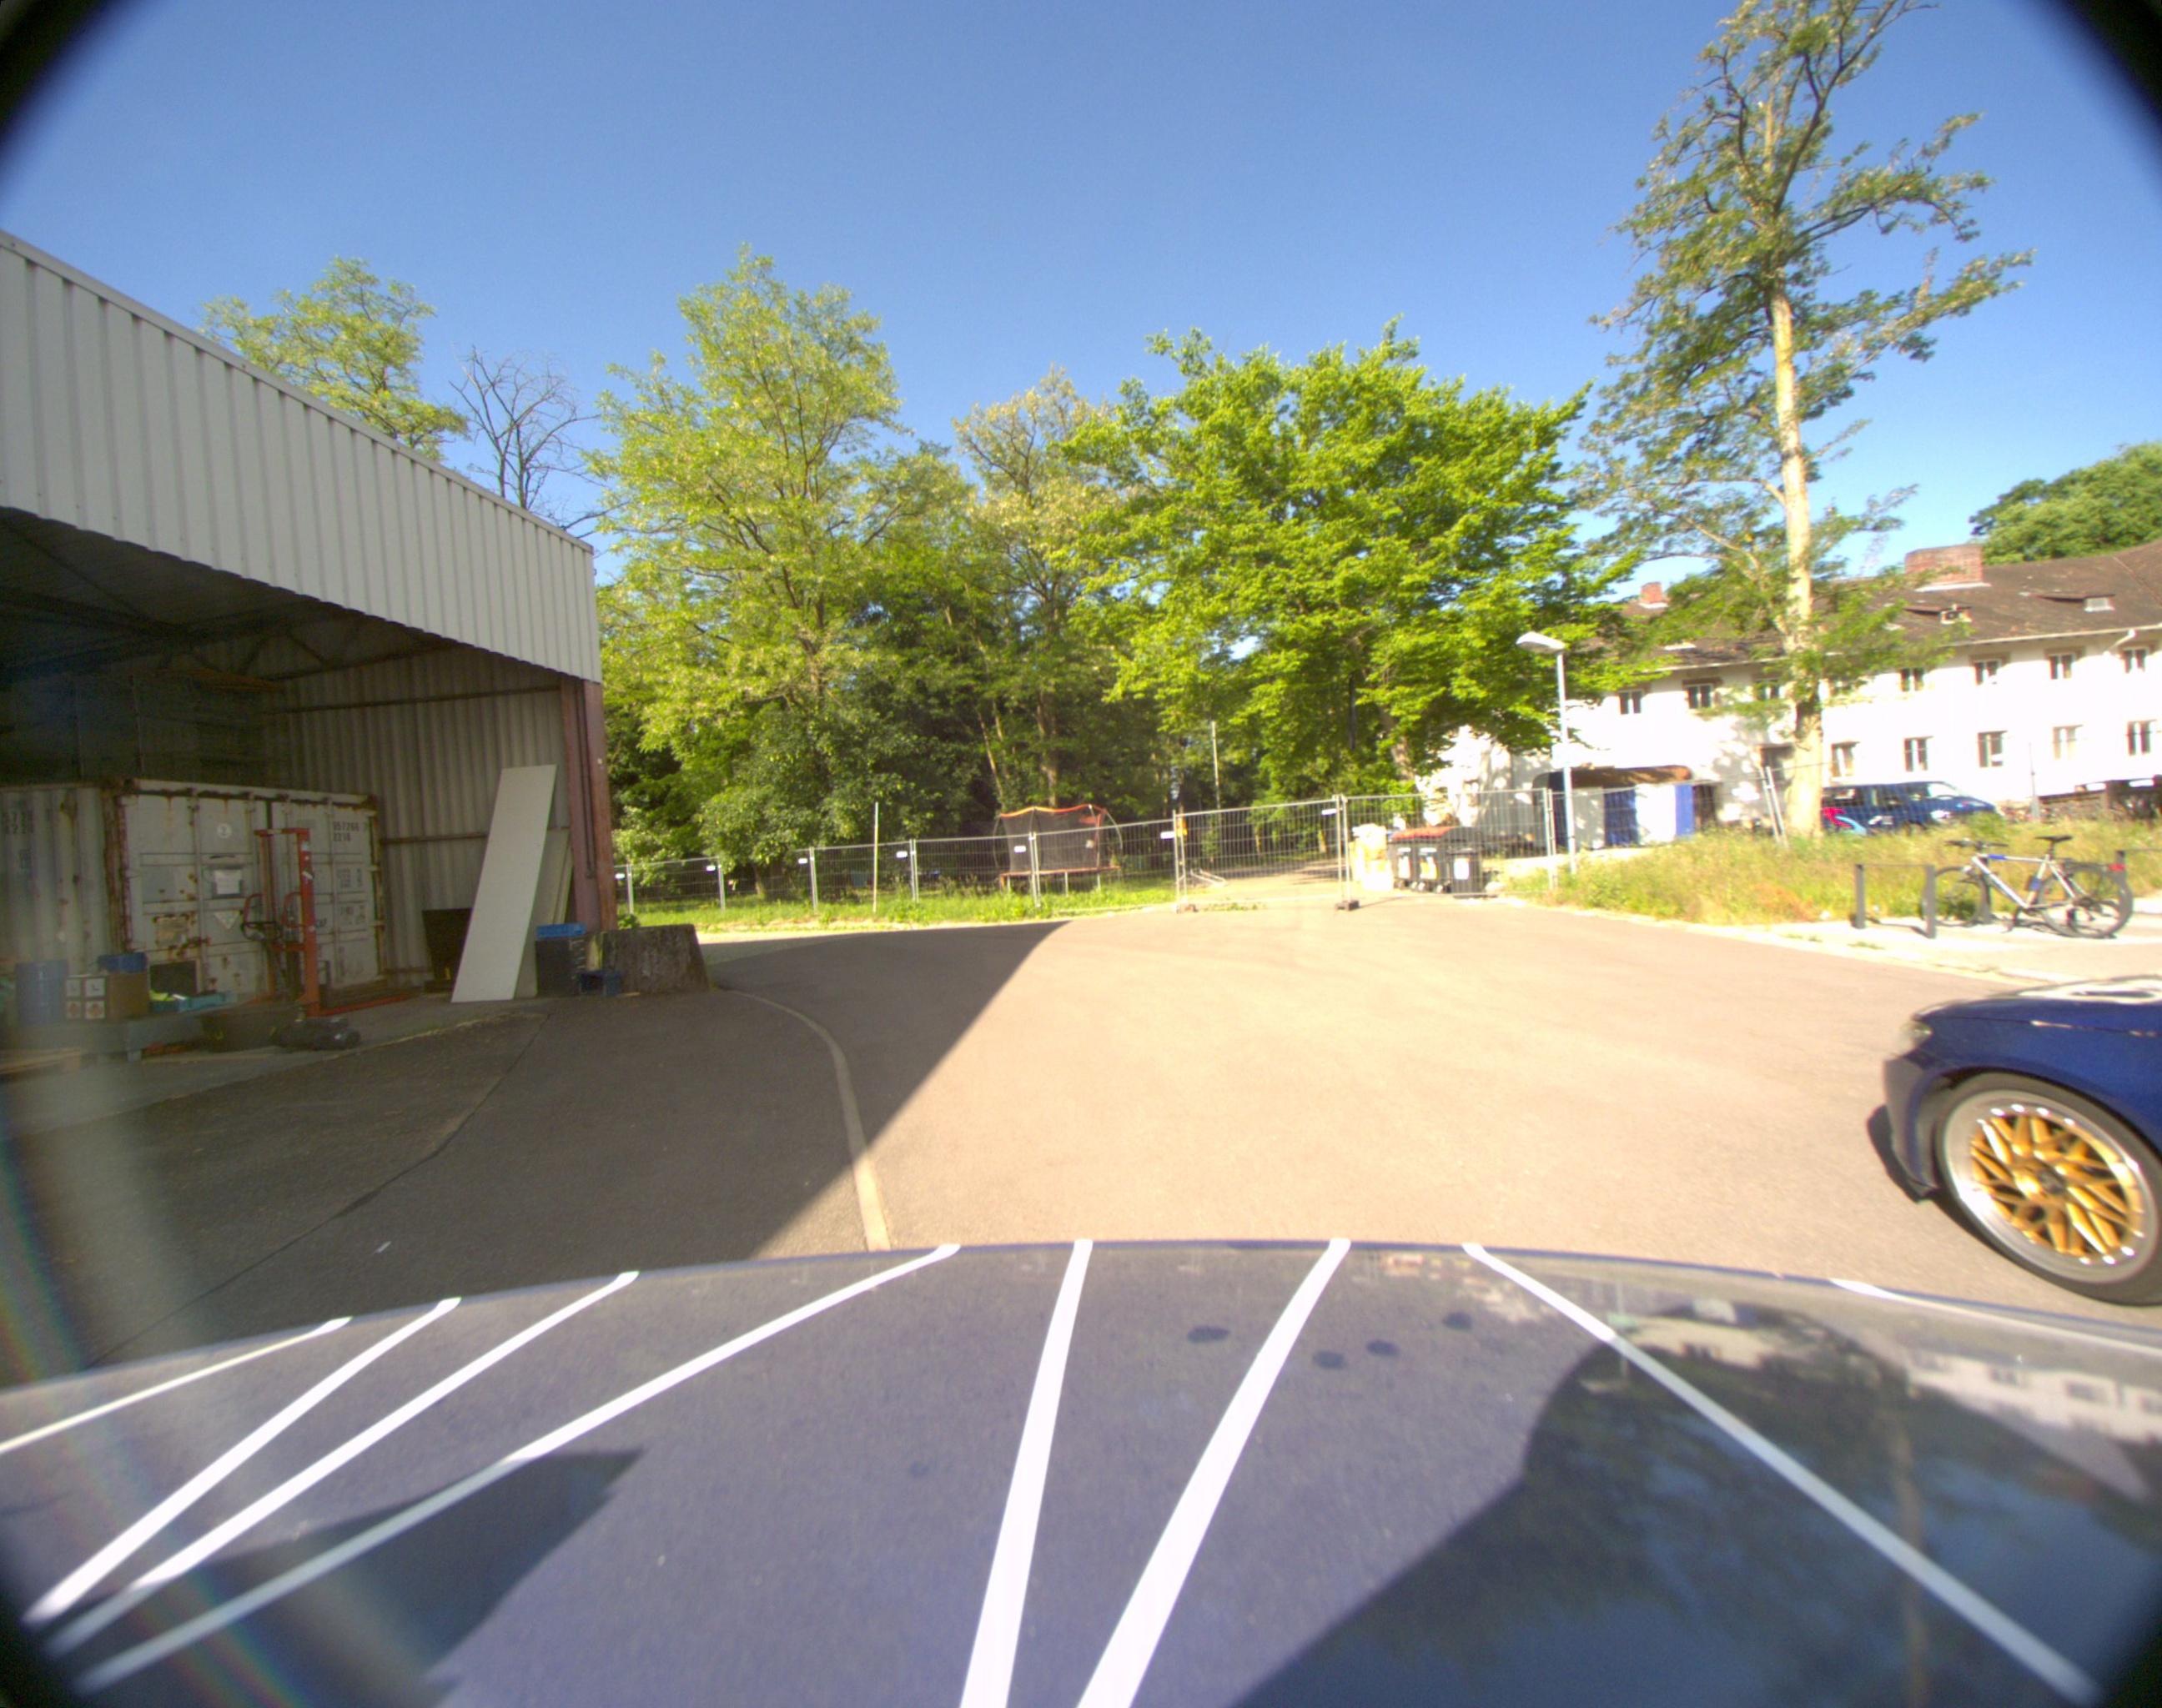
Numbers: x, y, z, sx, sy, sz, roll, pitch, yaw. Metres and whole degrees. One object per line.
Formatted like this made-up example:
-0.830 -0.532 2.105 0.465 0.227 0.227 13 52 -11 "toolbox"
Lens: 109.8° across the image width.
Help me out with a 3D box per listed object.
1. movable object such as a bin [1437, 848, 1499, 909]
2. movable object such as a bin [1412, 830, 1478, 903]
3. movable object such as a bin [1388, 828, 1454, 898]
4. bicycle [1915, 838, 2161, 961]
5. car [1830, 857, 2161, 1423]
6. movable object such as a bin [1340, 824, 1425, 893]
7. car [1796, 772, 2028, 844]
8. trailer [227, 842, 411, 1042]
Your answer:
7.520 0.470 14.801 0.818 1.091 0.739 -4 1 9 "movable object such as a bin"
7.665 0.247 16.051 0.702 1.436 1.248 -4 1 0 "movable object such as a bin"
7.759 0.189 17.391 0.806 1.475 1.341 -4 1 -1 "movable object such as a bin"
9.619 0.395 7.633 0.459 1.056 1.805 -4 1 1 "bicycle"
3.456 0.733 0.735 1.672 1.342 3.954 -6 0 5 "car"
7.664 0.093 19.485 1.174 1.582 2.295 -4 1 0 "movable object such as a bin"
25.333 -1.298 23.489 1.998 1.891 4.725 -3 1 1 "car"
-8.568 0.932 8.615 0.581 2.055 1.284 -6 -1 2 "trailer"
